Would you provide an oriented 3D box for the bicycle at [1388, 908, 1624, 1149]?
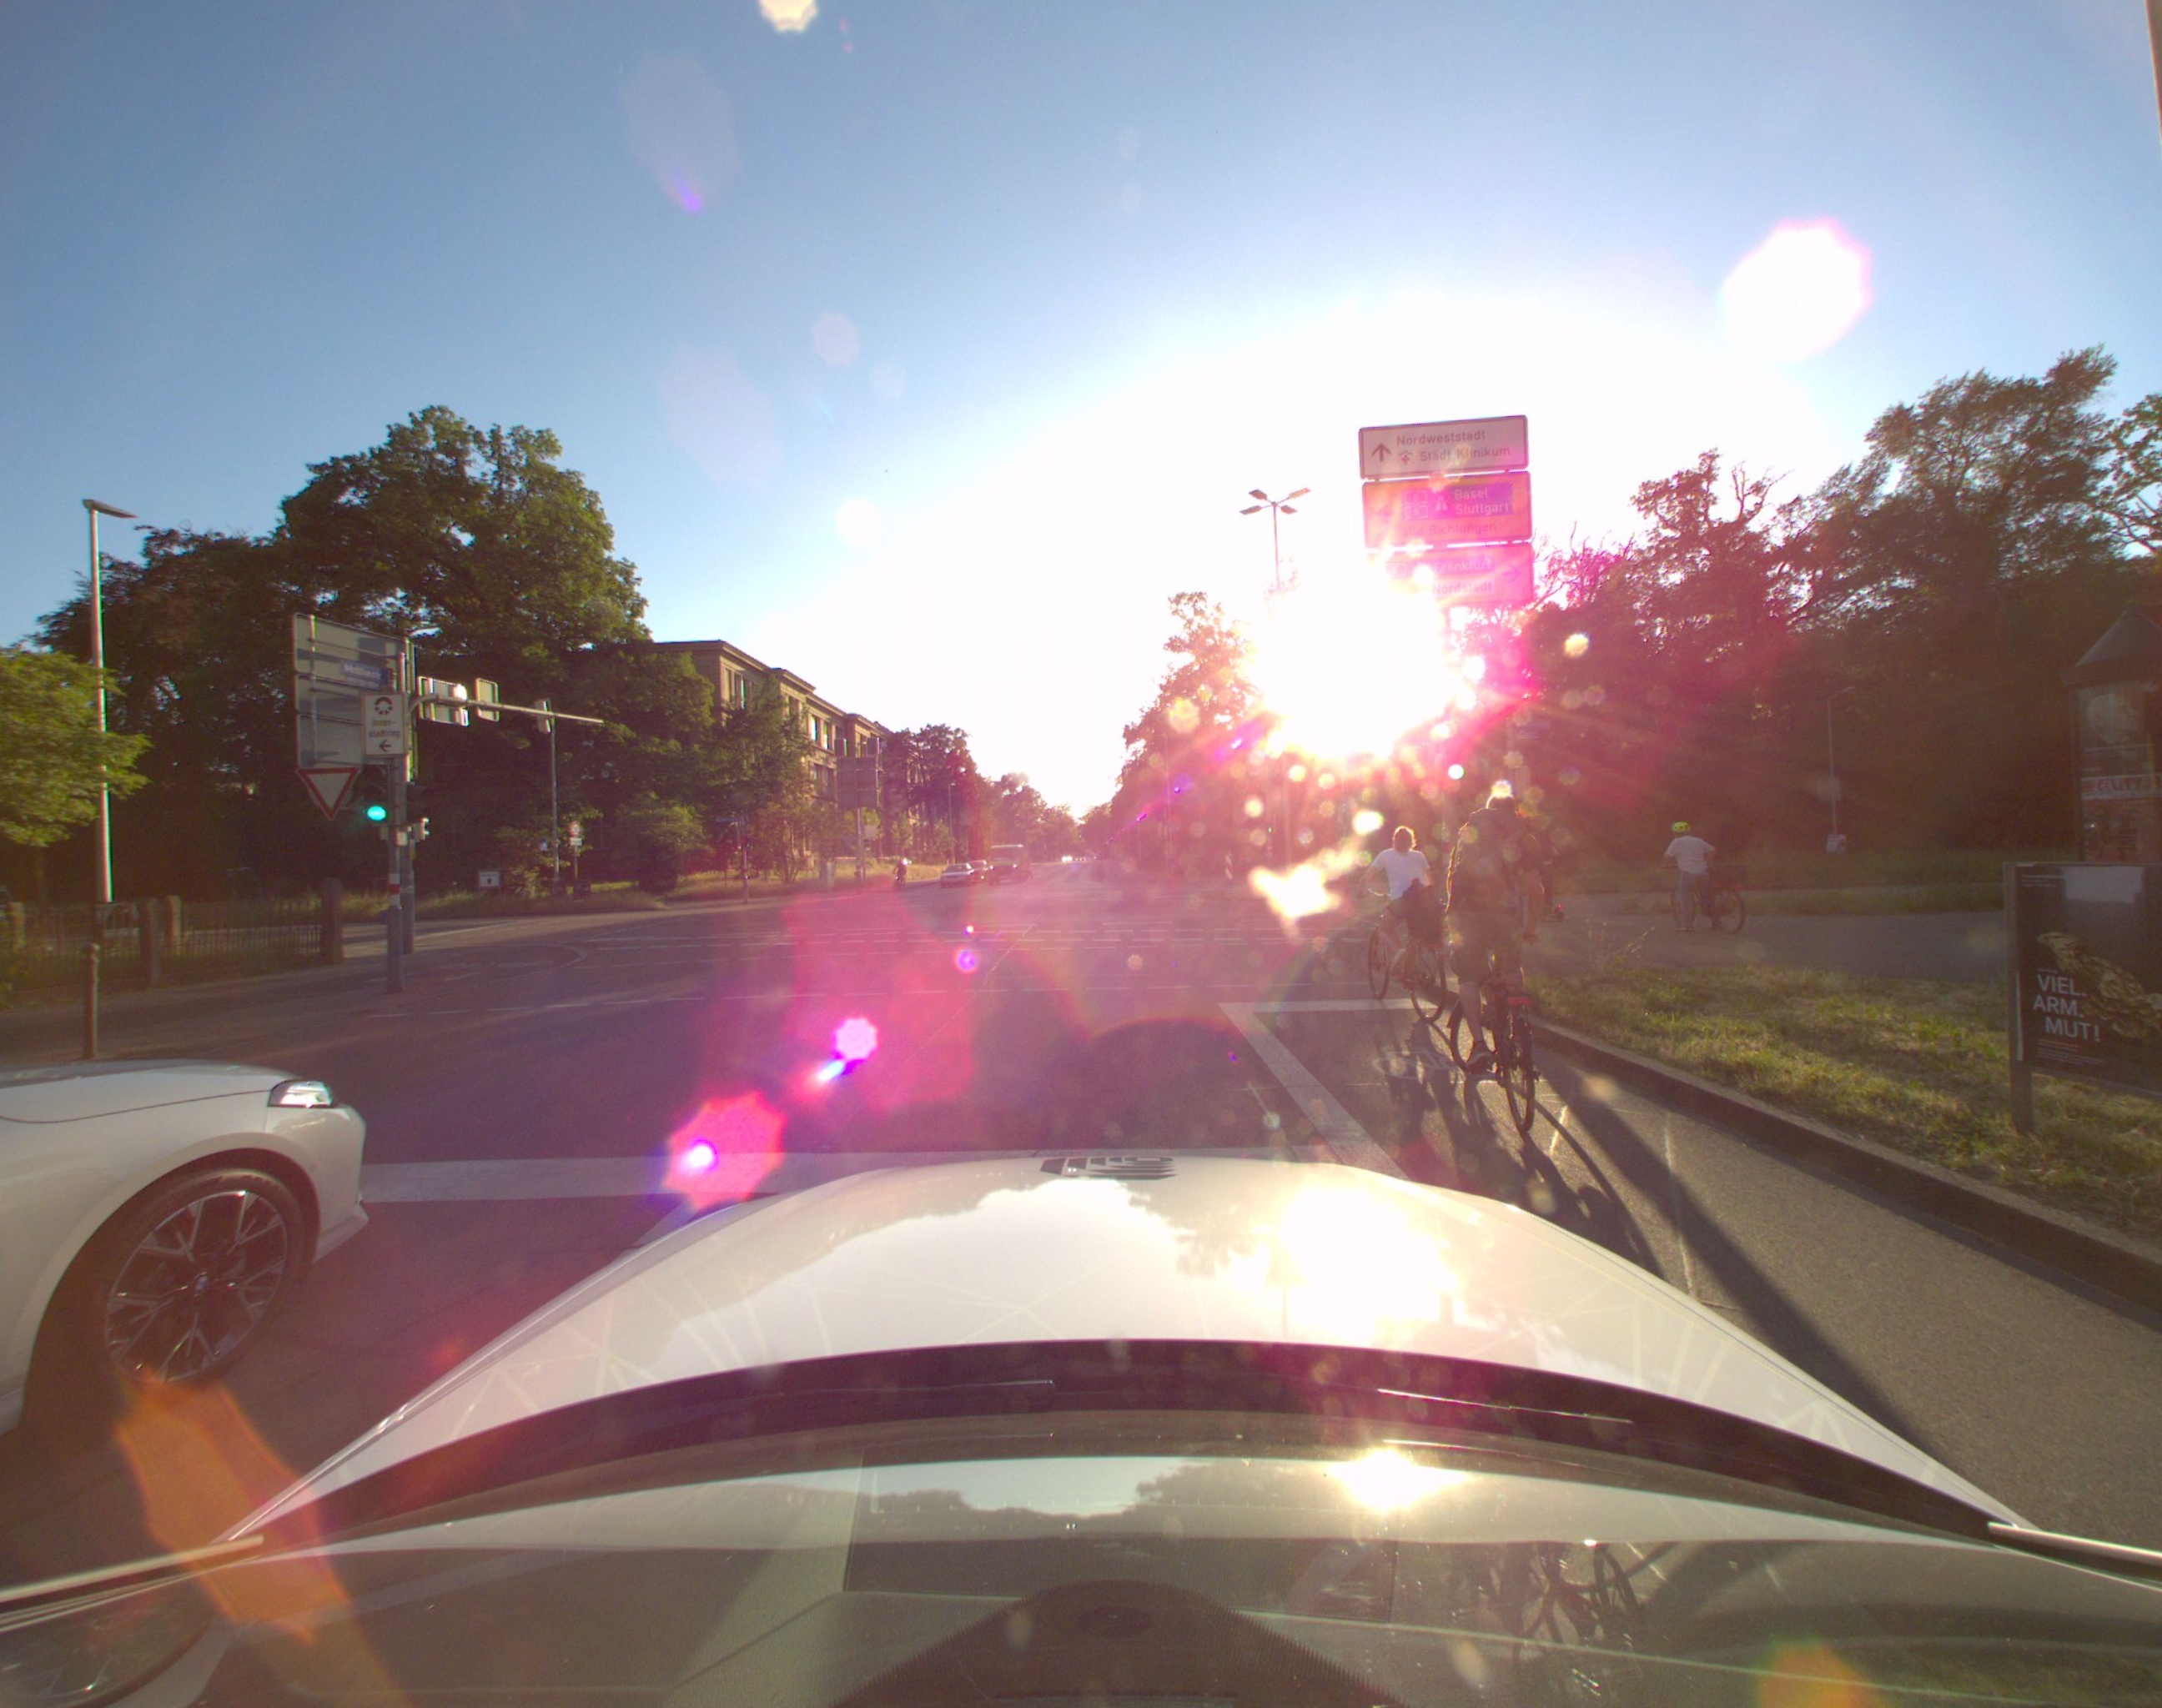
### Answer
[{"bbox_3d":[2.443,0.922,4.947,0.694,1.063,1.829,-1,0,8],"label":"bicycle"}]

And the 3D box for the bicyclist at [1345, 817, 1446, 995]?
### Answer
[{"bbox_3d":[2.962,0.464,7.748,0.601,1.586,0.910,-1,0,2],"label":"bicyclist"}]

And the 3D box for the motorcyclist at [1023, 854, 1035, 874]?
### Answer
[{"bbox_3d":[-3.590,0.676,56.152,0.747,1.358,0.704,-2,-1,1],"label":"motorcyclist"}]

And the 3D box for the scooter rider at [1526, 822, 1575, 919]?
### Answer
[{"bbox_3d":[8.778,0.309,15.235,0.563,1.766,0.505,-2,-1,3],"label":"scooter rider"}]

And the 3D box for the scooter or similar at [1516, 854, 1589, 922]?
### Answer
[{"bbox_3d":[8.789,0.610,15.237,0.559,1.189,1.423,-2,-1,3],"label":"scooter or similar"}]

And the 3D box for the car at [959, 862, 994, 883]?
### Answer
[{"bbox_3d":[-7.211,1.285,56.452,1.758,1.328,3.645,-2,0,2],"label":"car"}]

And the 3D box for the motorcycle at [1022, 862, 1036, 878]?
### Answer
[{"bbox_3d":[-3.576,1.107,56.194,0.751,1.001,1.880,-2,0,2],"label":"motorcycle"}]

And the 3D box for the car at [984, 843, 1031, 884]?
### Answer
[{"bbox_3d":[-4.435,0.566,50.075,2.031,2.278,5.943,-2,0,2],"label":"car"}]

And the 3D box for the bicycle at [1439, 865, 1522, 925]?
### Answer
[{"bbox_3d":[7.453,0.743,15.303,0.766,1.007,2.020,-1,0,8],"label":"bicycle"}]

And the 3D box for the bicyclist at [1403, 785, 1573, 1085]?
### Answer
[{"bbox_3d":[2.439,0.453,4.974,0.694,1.667,0.800,-1,0,8],"label":"bicyclist"}]

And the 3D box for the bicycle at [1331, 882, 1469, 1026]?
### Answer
[{"bbox_3d":[2.967,0.868,7.780,0.611,1.138,1.885,-1,0,2],"label":"bicycle"}]

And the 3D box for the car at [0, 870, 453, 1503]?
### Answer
[{"bbox_3d":[-3.448,0.822,1.173,1.746,1.466,4.189,-2,0,1],"label":"car"}]

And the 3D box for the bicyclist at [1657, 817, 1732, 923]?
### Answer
[{"bbox_3d":[9.466,0.240,12.595,0.550,1.569,0.902,-2,0,11],"label":"bicyclist"}]

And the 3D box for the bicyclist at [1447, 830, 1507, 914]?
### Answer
[{"bbox_3d":[7.442,0.334,15.342,0.755,1.518,0.858,-1,0,7],"label":"bicyclist"}]

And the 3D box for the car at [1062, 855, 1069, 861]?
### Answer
[{"bbox_3d":[-4.089,1.142,218.283,1.766,1.474,3.773,-2,0,-2],"label":"car"}]

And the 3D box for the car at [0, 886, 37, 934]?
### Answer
[{"bbox_3d":[-44.543,2.306,32.193,4.093,1.845,1.862,-2,0,0],"label":"car"}]

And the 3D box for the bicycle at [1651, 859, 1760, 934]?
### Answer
[{"bbox_3d":[9.447,0.609,12.401,0.560,1.014,1.808,-2,0,12],"label":"bicycle"}]

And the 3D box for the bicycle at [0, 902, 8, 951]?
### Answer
[{"bbox_3d":[-25.040,1.615,17.943,1.890,1.089,0.660,0,-1,0],"label":"bicycle"}]

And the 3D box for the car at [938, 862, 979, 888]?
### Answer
[{"bbox_3d":[-7.431,1.248,49.735,1.723,1.409,4.141,-2,0,2],"label":"car"}]

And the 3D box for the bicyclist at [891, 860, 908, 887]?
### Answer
[{"bbox_3d":[-10.175,1.090,45.732,0.680,1.512,0.956,-2,0,1],"label":"bicyclist"}]

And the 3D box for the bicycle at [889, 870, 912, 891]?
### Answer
[{"bbox_3d":[-10.158,1.475,45.837,0.684,1.123,2.169,-2,0,2],"label":"bicycle"}]
